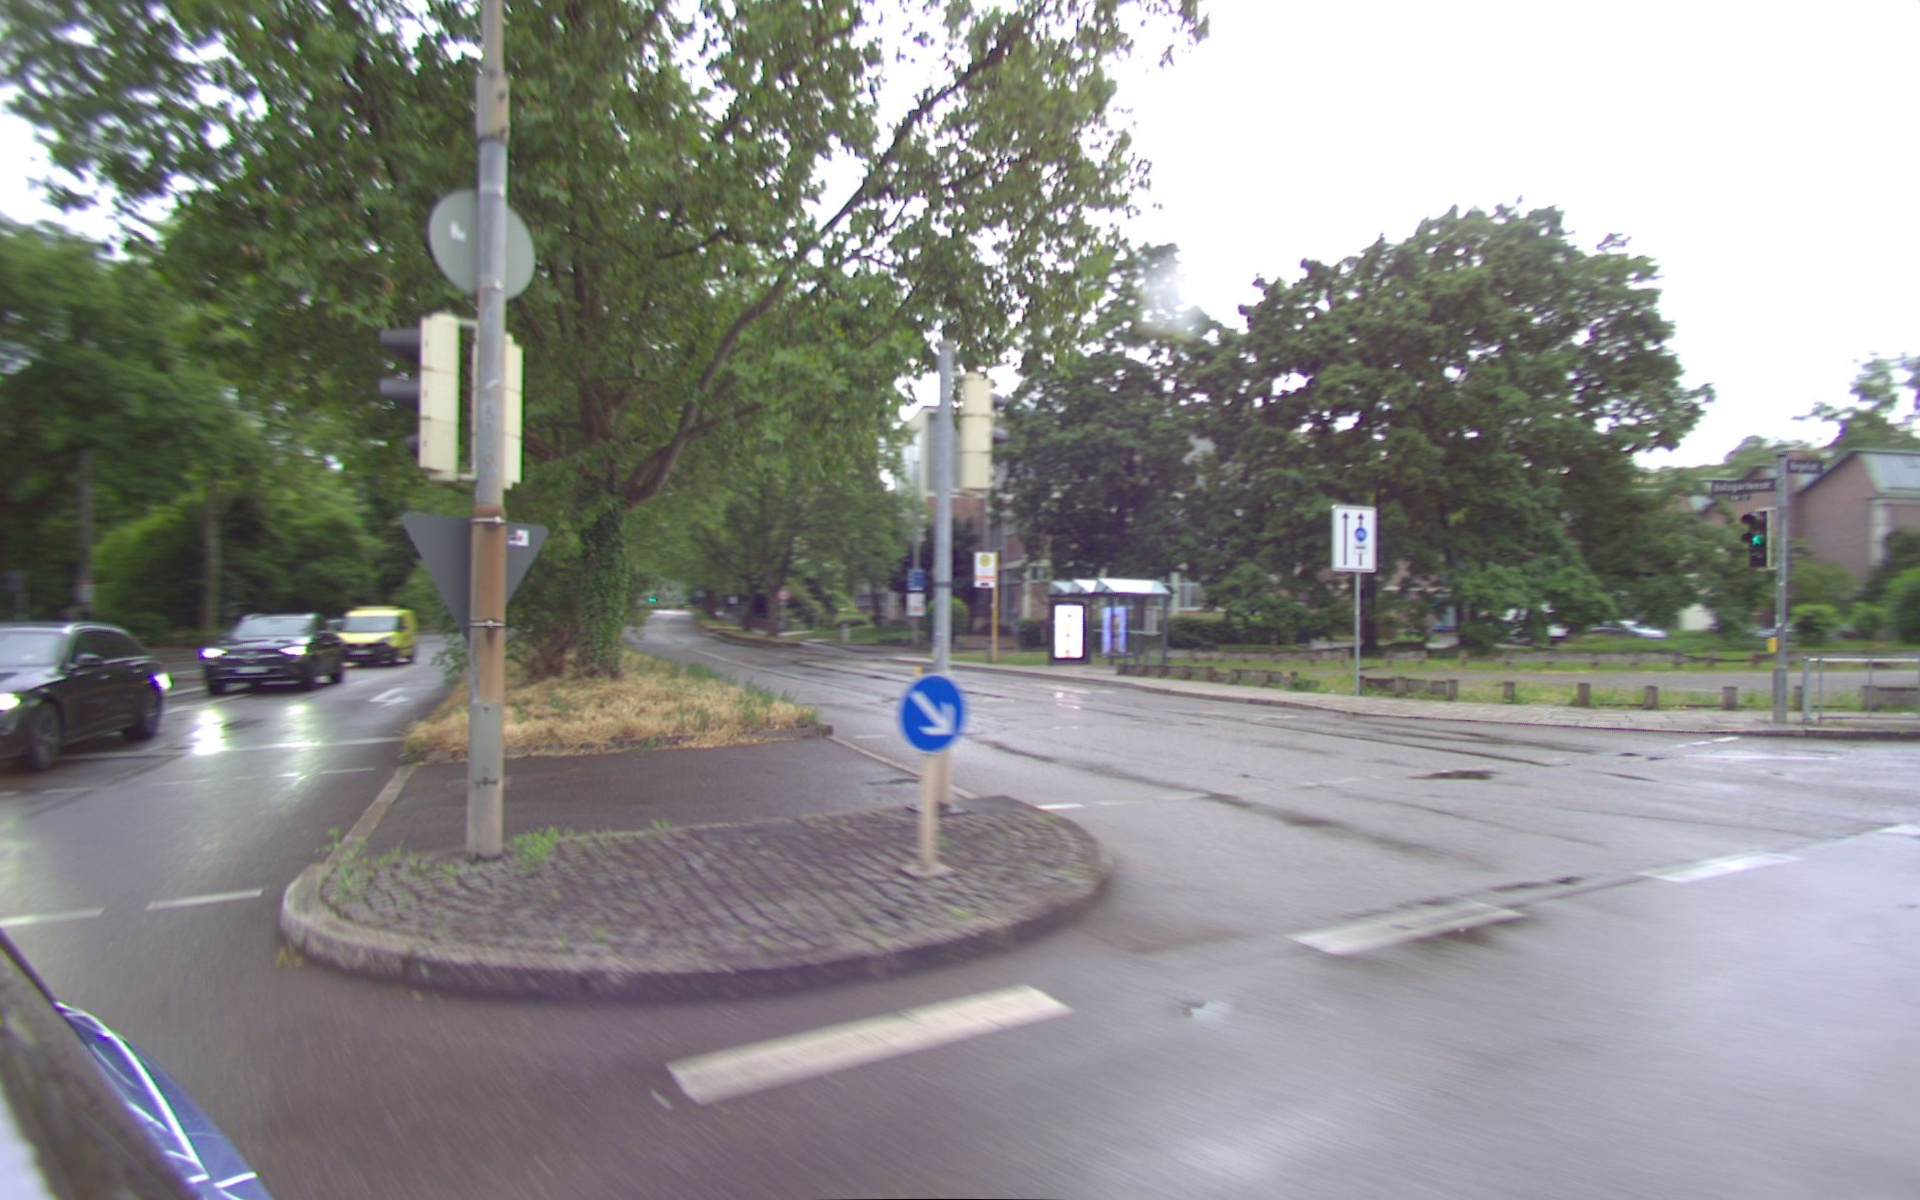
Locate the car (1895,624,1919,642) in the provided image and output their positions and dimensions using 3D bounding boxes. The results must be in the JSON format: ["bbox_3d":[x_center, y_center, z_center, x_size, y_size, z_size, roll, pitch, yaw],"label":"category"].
[{"bbox_3d":[66.170,2.240,68.775,1.566,1.151,3.564,-1,0,-11],"label":"car"}]

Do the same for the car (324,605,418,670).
[{"bbox_3d":[-19.063,1.181,32.955,1.853,1.890,4.757,-2,-1,-21],"label":"car"}]

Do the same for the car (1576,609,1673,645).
[{"bbox_3d":[42.287,1.689,64.578,2.251,2.090,5.089,-1,0,-9],"label":"car"}]

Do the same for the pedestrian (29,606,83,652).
[{"bbox_3d":[-32.562,1.020,36.464,1.063,1.618,1.052,-1,0,19],"label":"pedestrian"}]

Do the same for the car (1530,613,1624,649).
[{"bbox_3d":[38.936,1.930,64.044,2.251,2.037,5.090,-1,0,-10],"label":"car"}]

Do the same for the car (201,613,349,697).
[{"bbox_3d":[-14.899,1.156,22.277,1.803,1.620,4.592,-1,-2,-23],"label":"car"}]

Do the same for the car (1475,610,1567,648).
[{"bbox_3d":[34.820,1.745,62.977,2.251,2.195,5.090,-1,0,-10],"label":"car"}]

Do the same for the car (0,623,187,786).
[{"bbox_3d":[-10.418,0.987,11.071,1.853,1.456,4.946,0,-1,-22],"label":"car"}]
